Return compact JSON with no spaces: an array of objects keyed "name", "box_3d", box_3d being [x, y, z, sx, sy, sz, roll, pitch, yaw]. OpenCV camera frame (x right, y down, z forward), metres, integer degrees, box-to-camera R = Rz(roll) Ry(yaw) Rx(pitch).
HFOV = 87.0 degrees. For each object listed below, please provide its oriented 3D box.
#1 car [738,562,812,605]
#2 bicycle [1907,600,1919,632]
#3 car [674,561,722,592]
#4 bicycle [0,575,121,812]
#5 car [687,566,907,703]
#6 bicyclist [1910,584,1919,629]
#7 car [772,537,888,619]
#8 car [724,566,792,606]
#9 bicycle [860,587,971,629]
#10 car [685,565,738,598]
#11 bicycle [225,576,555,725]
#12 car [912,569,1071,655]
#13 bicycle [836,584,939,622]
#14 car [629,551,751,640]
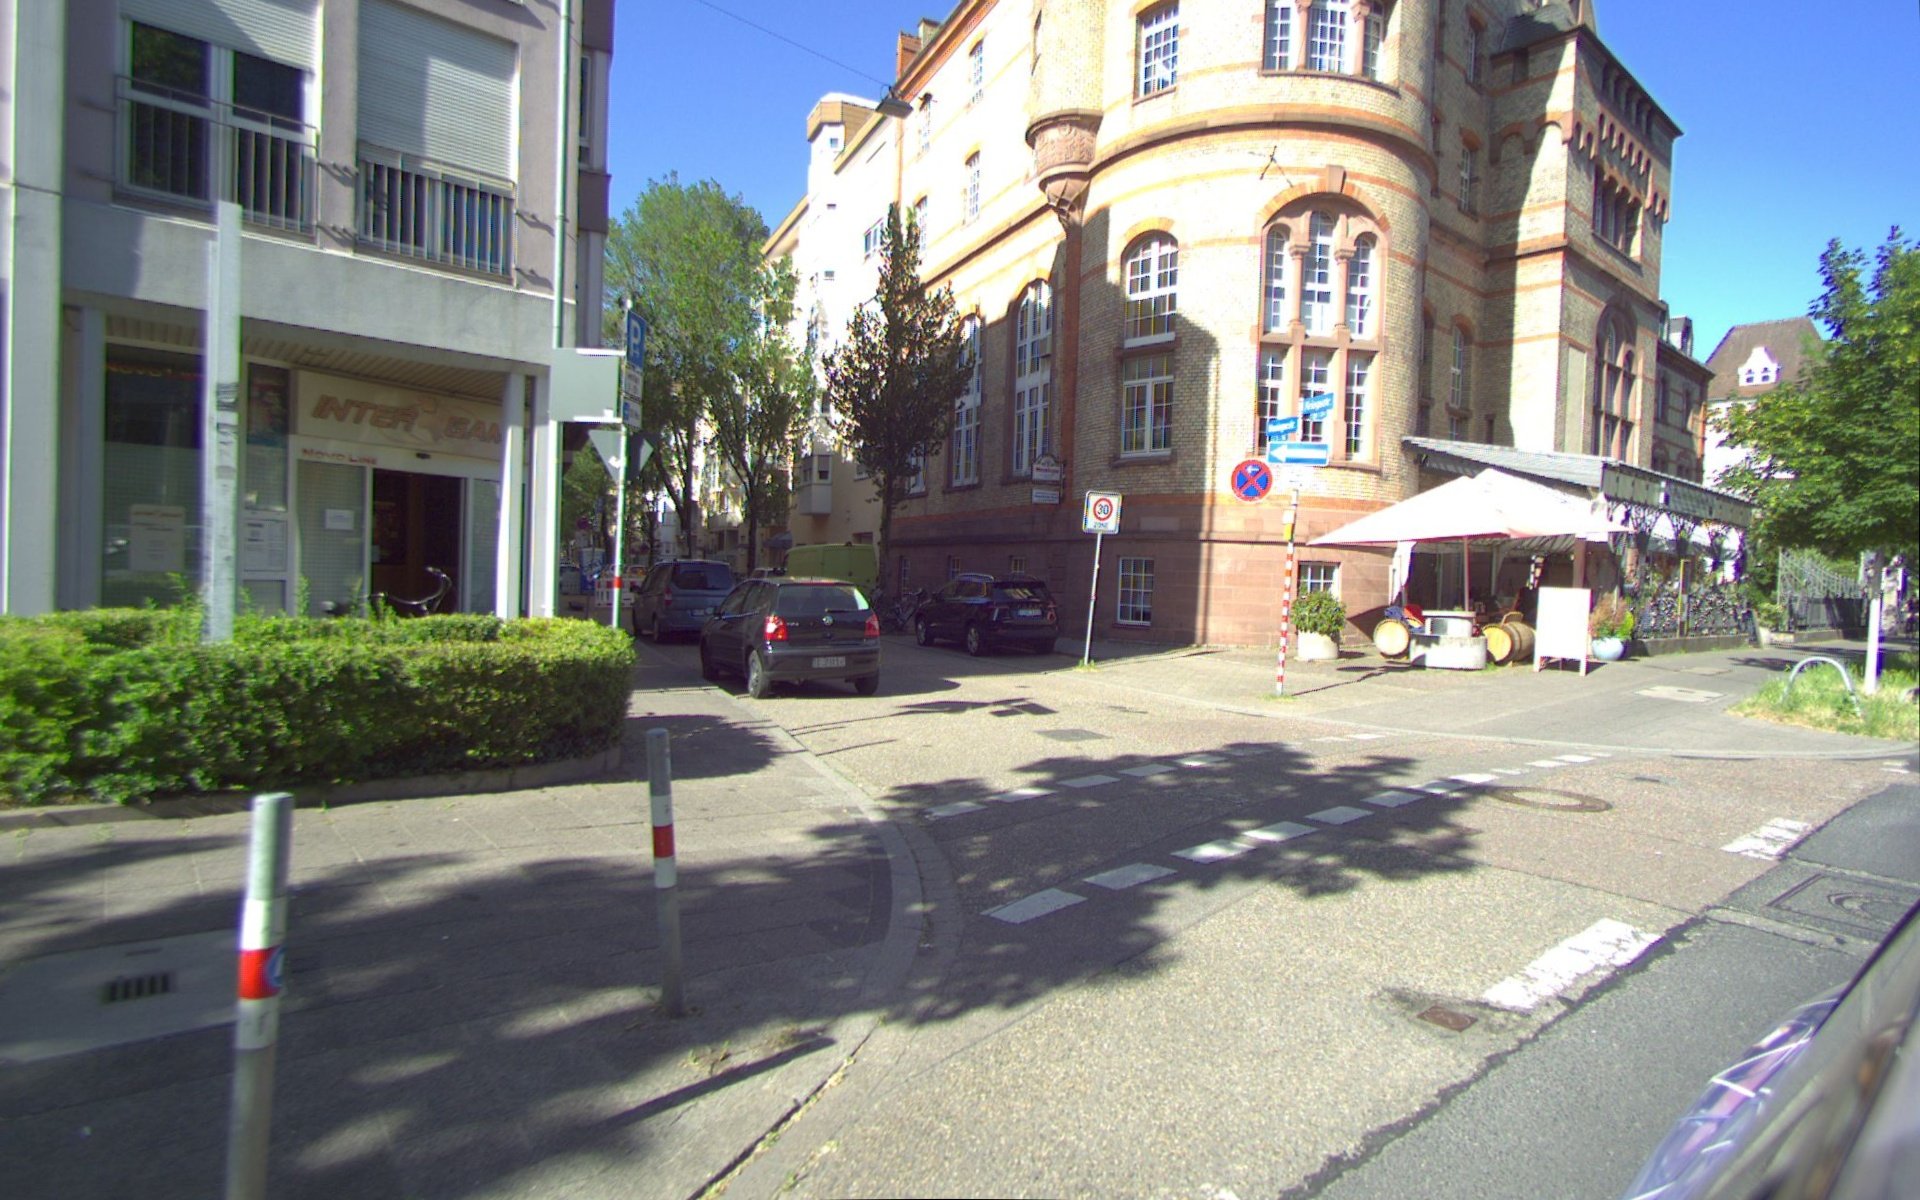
[{"name":"car","box_3d":[-6.863,-0.566,37.250,1.620,1.476,3.902,1,-1,-27]},{"name":"bicycle","box_3d":[37.329,0.633,39.158,1.810,1.190,0.654,1,4,-40]},{"name":"car","box_3d":[-13.756,-1.196,53.047,1.620,1.476,3.902,1,-1,-27]},{"name":"bicycle","box_3d":[-5.311,0.441,5.776,0.674,1.040,2.202,4,1,-38]},{"name":"car","box_3d":[-2.343,0.339,13.604,1.824,1.542,3.964,0,1,-27]},{"name":"bicyclist","box_3d":[37.338,0.289,39.128,0.873,1.715,0.647,2,4,-39]},{"name":"car","box_3d":[-4.155,-0.666,31.556,2.093,2.331,4.815,1,1,-27]},{"name":"car","box_3d":[-8.348,-0.606,41.562,1.758,1.542,3.964,1,1,-27]},{"name":"bicycle","box_3d":[-1.166,0.186,26.541,2.714,1.040,1.061,0,1,-26]},{"name":"car","box_3d":[-11.903,-0.844,48.371,1.620,1.476,3.902,1,-1,-27]},{"name":"bicycle","box_3d":[-4.473,0.410,8.085,2.159,1.040,0.688,4,1,-32]},{"name":"car","box_3d":[0.548,0.162,21.138,1.758,1.541,3.965,-2,3,-24]},{"name":"bicycle","box_3d":[-2.036,0.061,28.479,2.714,1.040,1.061,0,1,-26]},{"name":"car","box_3d":[-5.904,-0.117,21.803,1.758,1.728,3.964,1,1,-27]}]
